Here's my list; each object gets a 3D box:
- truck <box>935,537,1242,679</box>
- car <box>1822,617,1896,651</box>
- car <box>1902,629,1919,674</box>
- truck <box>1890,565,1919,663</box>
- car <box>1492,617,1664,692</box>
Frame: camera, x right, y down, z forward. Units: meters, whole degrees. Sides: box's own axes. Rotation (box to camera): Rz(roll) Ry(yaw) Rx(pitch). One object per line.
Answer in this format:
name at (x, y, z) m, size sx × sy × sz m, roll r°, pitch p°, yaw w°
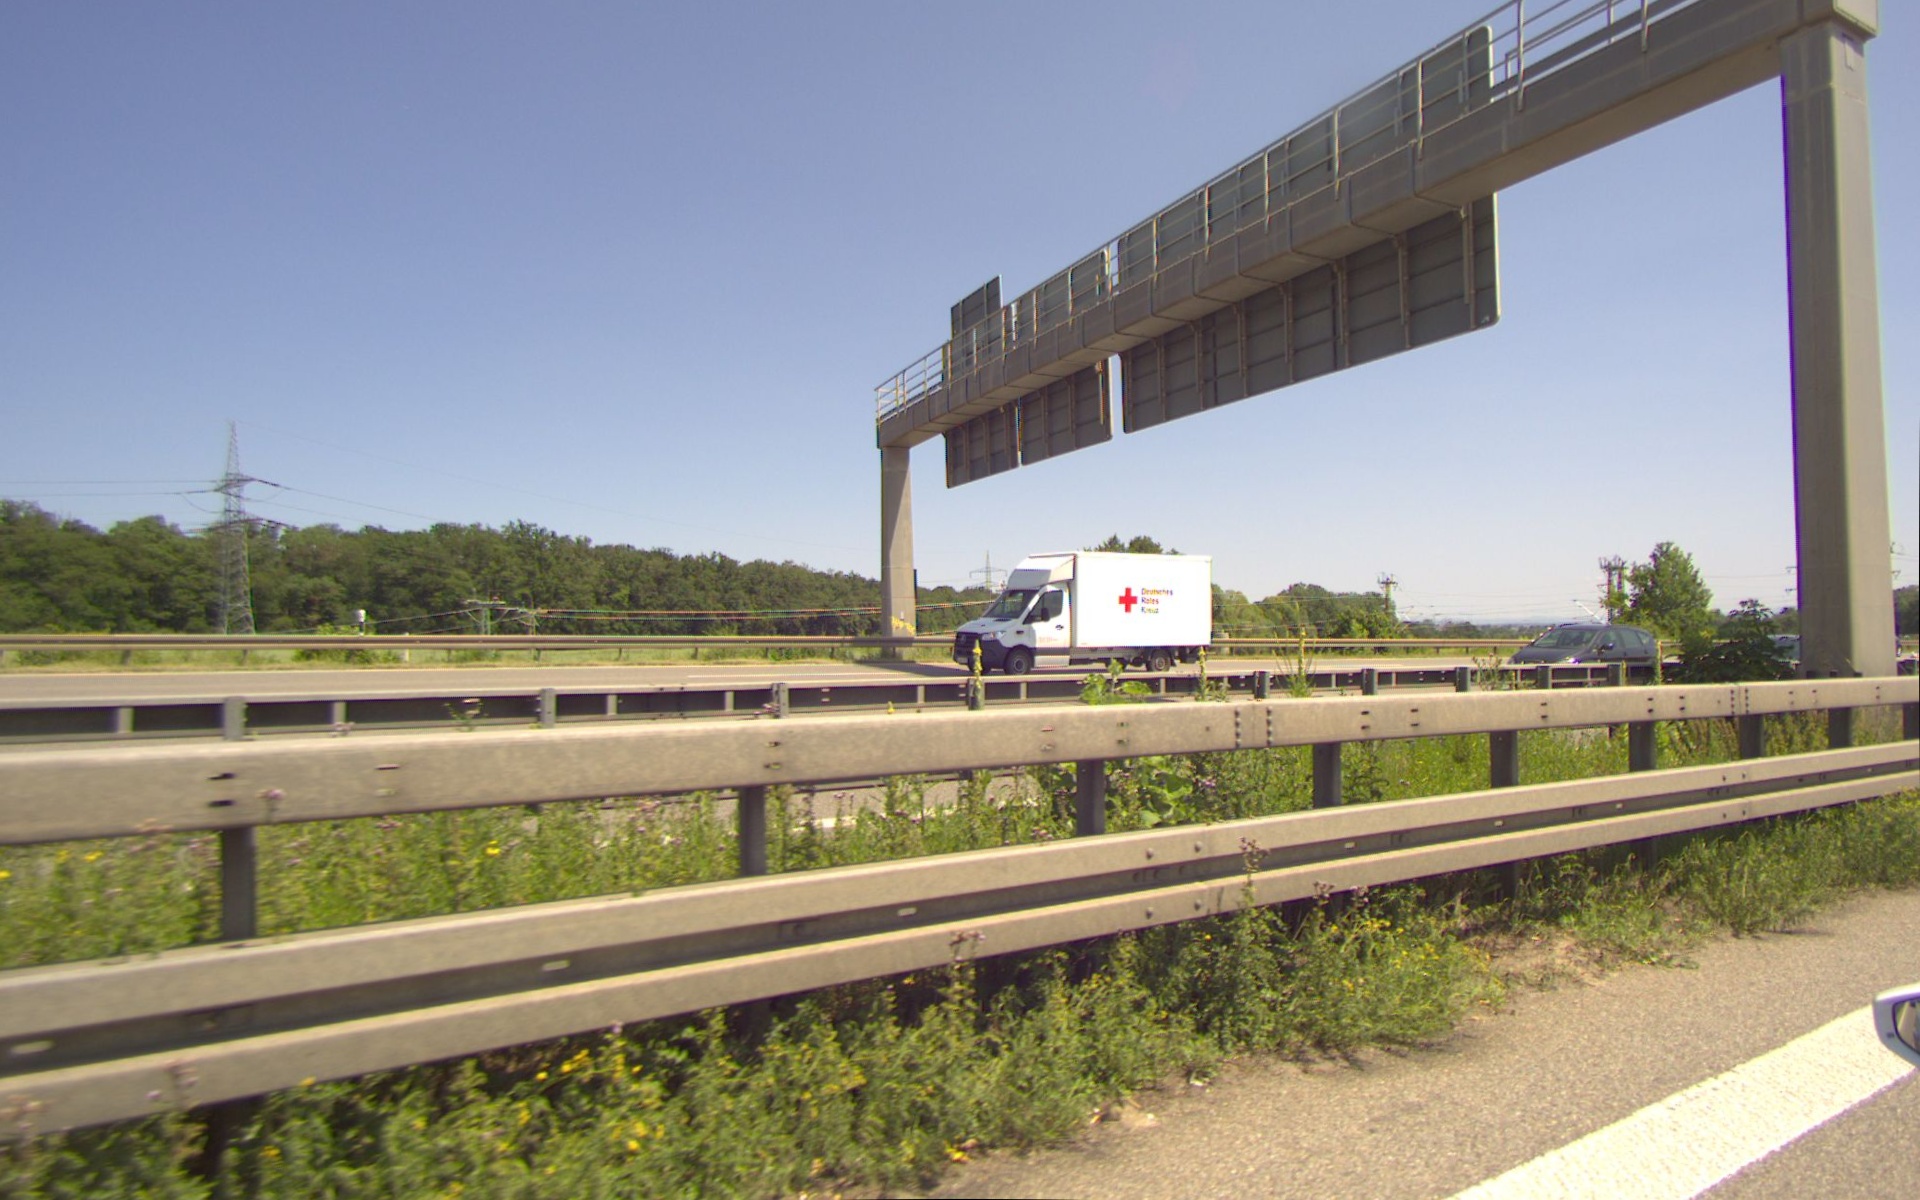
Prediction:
truck at (3.436, 0.271, 25.621) m, size 8.016 × 3.209 × 2.309 m, roll 1°, pitch -1°, yaw -30°
car at (49.636, 1.883, 55.432) m, size 3.951 × 1.772 × 1.797 m, roll 2°, pitch -1°, yaw -28°
car at (35.153, 1.819, 35.218) m, size 5.042 × 1.529 × 1.734 m, roll 1°, pitch -1°, yaw -30°
truck at (45.530, 0.696, 45.058) m, size 7.595 × 4.265 × 3.236 m, roll 1°, pitch -1°, yaw -28°
car at (14.281, 1.225, 23.169) m, size 3.953 × 1.582 × 1.734 m, roll 1°, pitch -1°, yaw -30°
